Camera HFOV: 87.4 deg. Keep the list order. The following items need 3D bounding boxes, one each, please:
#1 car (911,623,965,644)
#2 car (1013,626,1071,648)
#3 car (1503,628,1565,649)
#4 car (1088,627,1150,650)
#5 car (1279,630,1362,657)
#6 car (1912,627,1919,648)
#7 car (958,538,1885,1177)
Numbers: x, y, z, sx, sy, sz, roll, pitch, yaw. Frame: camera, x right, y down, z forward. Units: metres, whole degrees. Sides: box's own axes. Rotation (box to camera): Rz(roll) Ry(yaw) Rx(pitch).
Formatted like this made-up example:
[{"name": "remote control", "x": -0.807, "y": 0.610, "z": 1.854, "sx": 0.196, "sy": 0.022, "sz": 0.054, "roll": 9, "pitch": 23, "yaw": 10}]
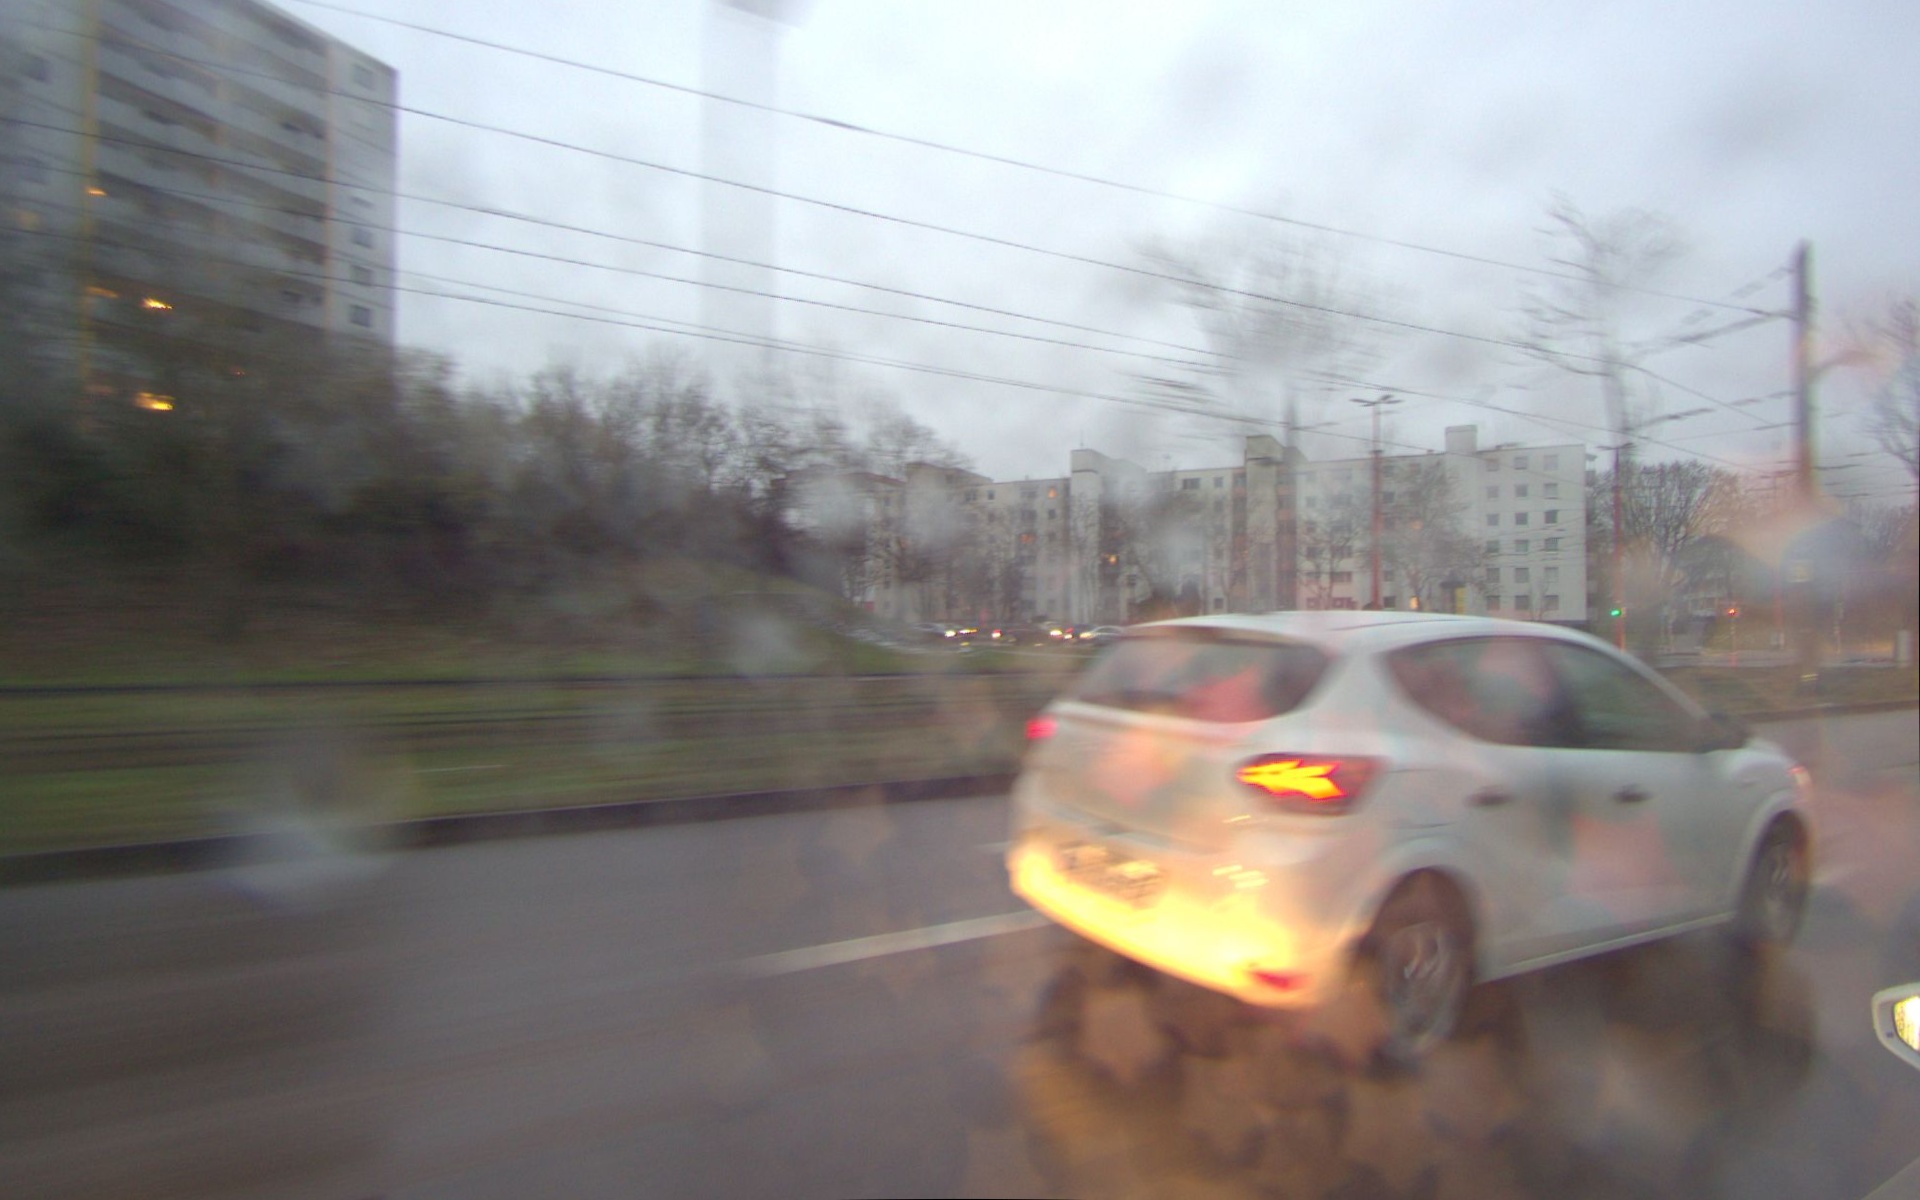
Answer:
[{"name": "car", "x": -1.749, "y": 2.633, "z": 78.681, "sx": 3.932, "sy": 1.565, "sz": 1.708, "roll": -1, "pitch": -2, "yaw": 33}, {"name": "car", "x": 6.007, "y": 2.710, "z": 73.624, "sx": 3.932, "sy": 1.565, "sz": 1.708, "roll": -1, "pitch": -2, "yaw": 33}, {"name": "car", "x": 45.214, "y": 3.020, "z": 79.153, "sx": 3.919, "sy": 1.661, "sz": 1.538, "roll": 0, "pitch": -1, "yaw": 11}, {"name": "car", "x": 11.152, "y": 2.689, "z": 70.369, "sx": 3.932, "sy": 1.565, "sz": 1.708, "roll": -1, "pitch": -2, "yaw": 33}, {"name": "car", "x": 21.650, "y": 2.585, "z": 60.349, "sx": 4.365, "sy": 1.565, "sz": 1.847, "roll": -1, "pitch": -2, "yaw": 33}, {"name": "car", "x": 71.788, "y": 2.753, "z": 73.885, "sx": 3.970, "sy": 1.515, "sz": 1.610, "roll": 1, "pitch": -1, "yaw": -31}, {"name": "car", "x": 2.176, "y": 0.723, "z": 4.428, "sx": 4.099, "sy": 1.669, "sz": 1.705, "roll": 1, "pitch": -2, "yaw": -31}]
